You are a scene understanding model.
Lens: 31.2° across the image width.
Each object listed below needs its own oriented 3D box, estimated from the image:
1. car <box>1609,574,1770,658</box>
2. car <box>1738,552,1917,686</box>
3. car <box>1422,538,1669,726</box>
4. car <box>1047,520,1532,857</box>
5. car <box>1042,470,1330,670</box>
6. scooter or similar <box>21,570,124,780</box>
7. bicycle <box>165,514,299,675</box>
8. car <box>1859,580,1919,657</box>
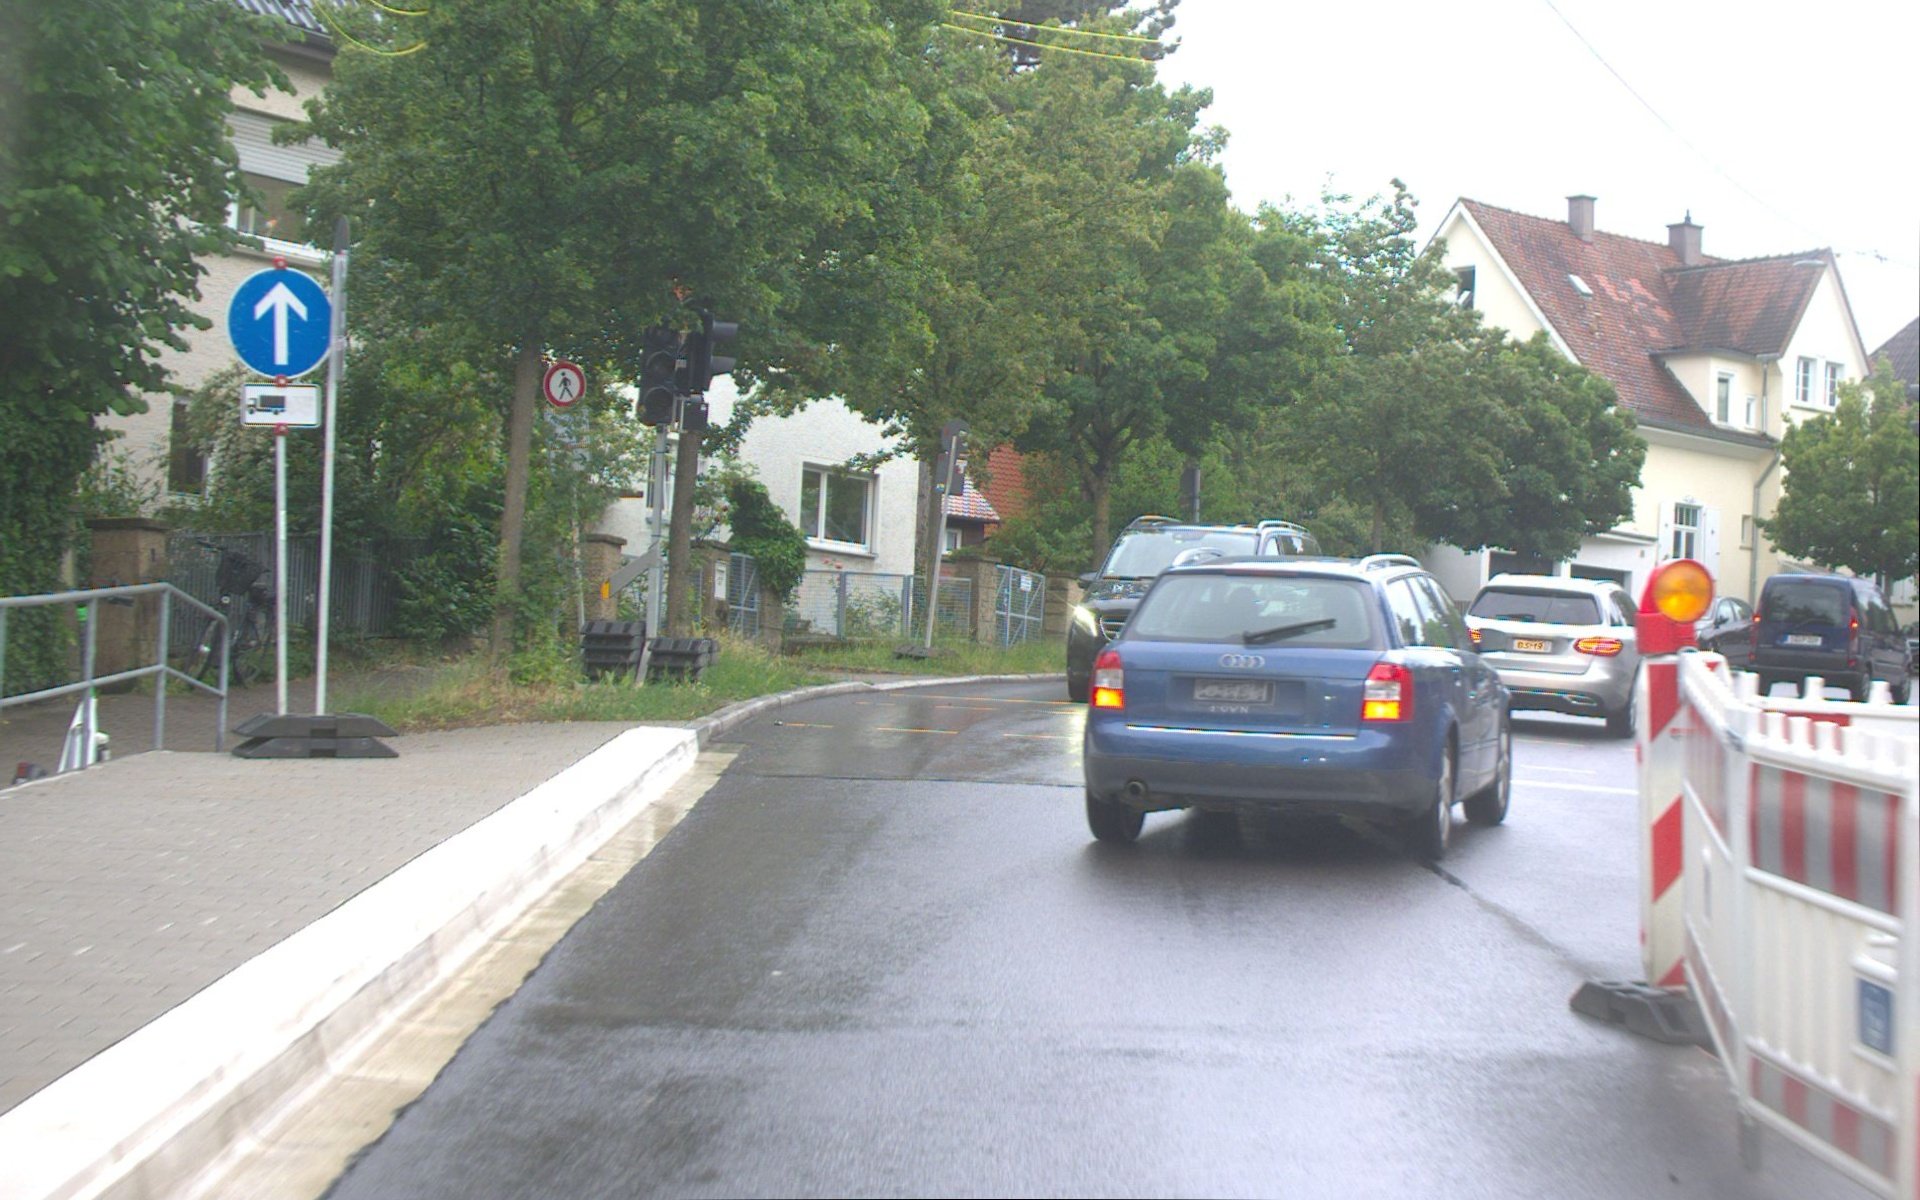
[{"bbox_3d":[13.334,0.303,62.713,1.673,1.461,3.888,1,0,31],"label":"car"},{"bbox_3d":[12.657,0.231,50.016,1.736,1.762,4.229,1,2,25],"label":"car"},{"bbox_3d":[5.718,0.246,33.188,1.977,1.629,4.232,0,2,15],"label":"car"},{"bbox_3d":[1.792,0.344,17.481,1.735,1.461,3.997,0,2,16],"label":"car"},{"bbox_3d":[2.414,-0.286,35.246,1.898,1.883,5.149,1,0,16],"label":"car"},{"bbox_3d":[-4.721,0.384,18.321,0.323,1.077,1.096,0,1,-3],"label":"scooter or similar"},{"bbox_3d":[-6.128,-0.072,29.037,0.490,1.267,2.273,4,2,2],"label":"bicycle"},{"bbox_3d":[20.936,0.430,71.580,4.890,1.540,1.872,2,0,-42],"label":"car"}]
